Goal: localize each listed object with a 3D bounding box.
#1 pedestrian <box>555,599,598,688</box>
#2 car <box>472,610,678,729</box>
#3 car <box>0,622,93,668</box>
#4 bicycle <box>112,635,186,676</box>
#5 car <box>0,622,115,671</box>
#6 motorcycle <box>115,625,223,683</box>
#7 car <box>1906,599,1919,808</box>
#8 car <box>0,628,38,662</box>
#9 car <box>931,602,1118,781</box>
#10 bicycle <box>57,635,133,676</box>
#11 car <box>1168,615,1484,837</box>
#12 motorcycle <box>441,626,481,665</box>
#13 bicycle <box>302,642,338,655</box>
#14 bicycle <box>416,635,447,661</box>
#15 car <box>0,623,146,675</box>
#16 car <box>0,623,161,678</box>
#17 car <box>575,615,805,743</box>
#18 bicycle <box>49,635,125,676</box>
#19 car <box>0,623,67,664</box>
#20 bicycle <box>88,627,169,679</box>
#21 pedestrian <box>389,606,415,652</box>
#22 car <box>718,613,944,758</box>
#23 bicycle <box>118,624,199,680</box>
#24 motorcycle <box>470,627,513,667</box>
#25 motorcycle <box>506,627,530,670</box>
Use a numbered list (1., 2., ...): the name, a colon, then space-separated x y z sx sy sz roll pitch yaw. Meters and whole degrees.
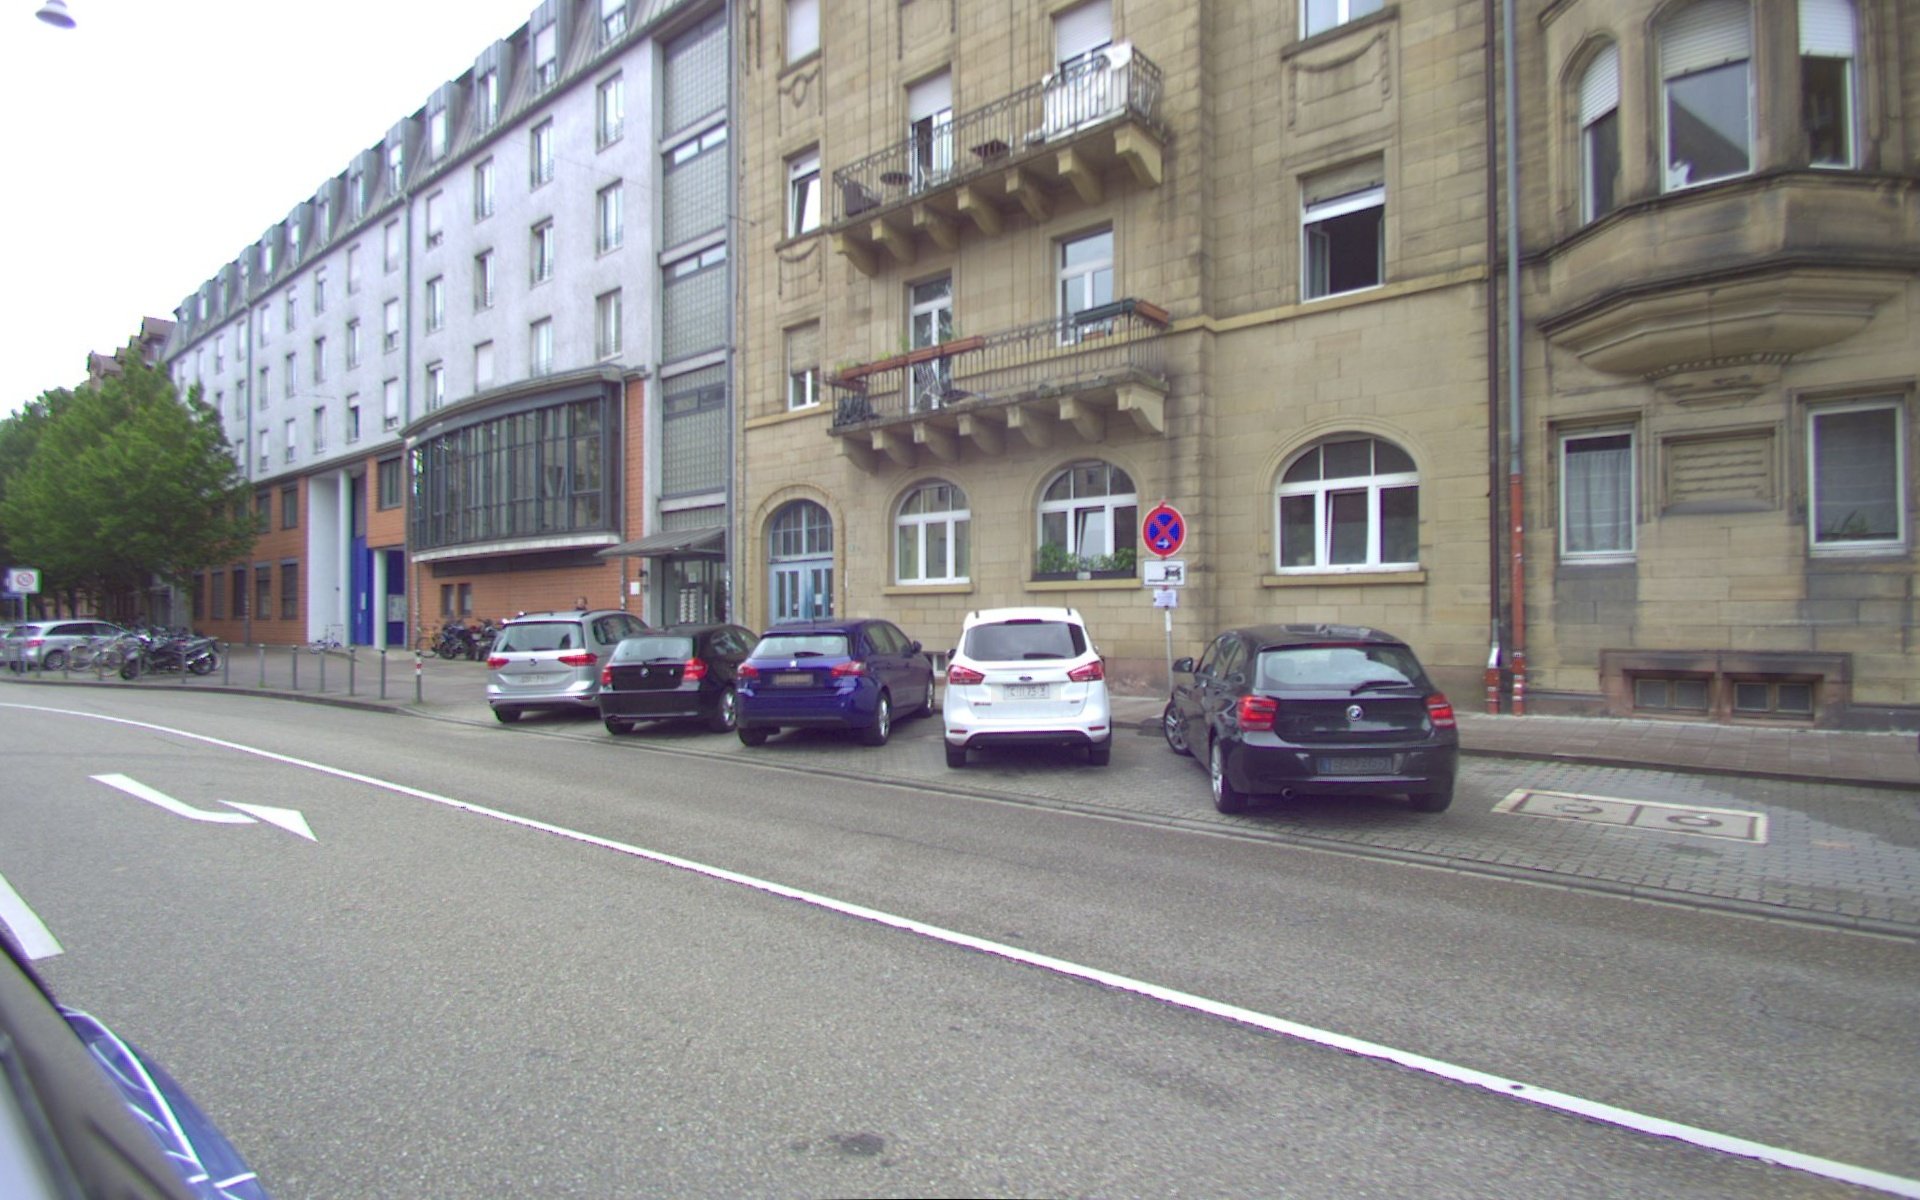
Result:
1. pedestrian: -8.118 0.906 21.416 0.642 1.837 0.613 -2 -2 41
2. car: -6.053 1.009 16.451 1.710 1.565 3.998 -2 1 2
3. car: -34.967 1.652 37.435 1.983 1.641 3.976 -1 -2 18
4. bicycle: -23.447 1.586 29.280 0.416 1.082 1.609 -1 0 39
5. car: -32.752 1.621 35.768 1.983 1.641 3.976 -1 -2 18
6. motorcycle: -20.297 1.348 26.001 0.599 1.363 2.096 -1 0 41
7. car: 7.643 0.759 5.477 1.549 1.508 3.810 0 0 2
8. car: -44.496 2.044 45.631 1.724 1.508 3.976 -1 -2 18
9. car: 0.689 0.854 11.379 1.681 1.565 3.997 -2 1 3
10. bicycle: -24.906 1.591 29.173 0.416 1.082 1.609 -1 0 39
11. car: 2.897 0.888 8.911 1.641 1.428 3.994 -1 0 5
12. motorcycle: -14.810 1.332 29.996 1.762 1.106 0.440 -2 -2 42
13. bicycle: -23.465 1.762 37.121 0.527 0.440 0.997 1 0 42
14. bicycle: -16.631 1.511 31.834 1.581 0.793 0.332 -2 -2 42
15. car: -30.113 1.586 33.909 1.983 1.641 3.976 -1 -2 18
16. car: -28.109 1.546 32.161 1.758 1.641 3.976 -1 -2 18
17. car: -3.671 1.021 14.547 1.713 1.449 3.989 -2 1 9
18. bicycle: -25.366 1.595 29.428 0.416 1.082 1.609 -1 0 39
19. car: -39.438 1.769 41.350 1.983 1.641 3.976 -1 -2 18
20. bicycle: -22.012 1.383 26.813 0.416 1.299 1.609 -1 0 39
21. pedestrian: -20.350 1.057 36.928 0.622 1.662 0.677 -1 -1 43
22. car: -1.467 0.975 12.972 1.804 1.456 3.736 -2 1 11
23. bicycle: -21.075 1.346 26.645 0.416 1.363 1.609 -1 0 39
24. motorcycle: -13.289 1.317 28.687 1.762 1.106 0.440 -2 -2 42
25. motorcycle: -11.778 1.265 26.948 0.438 1.106 1.768 1 -2 -29
